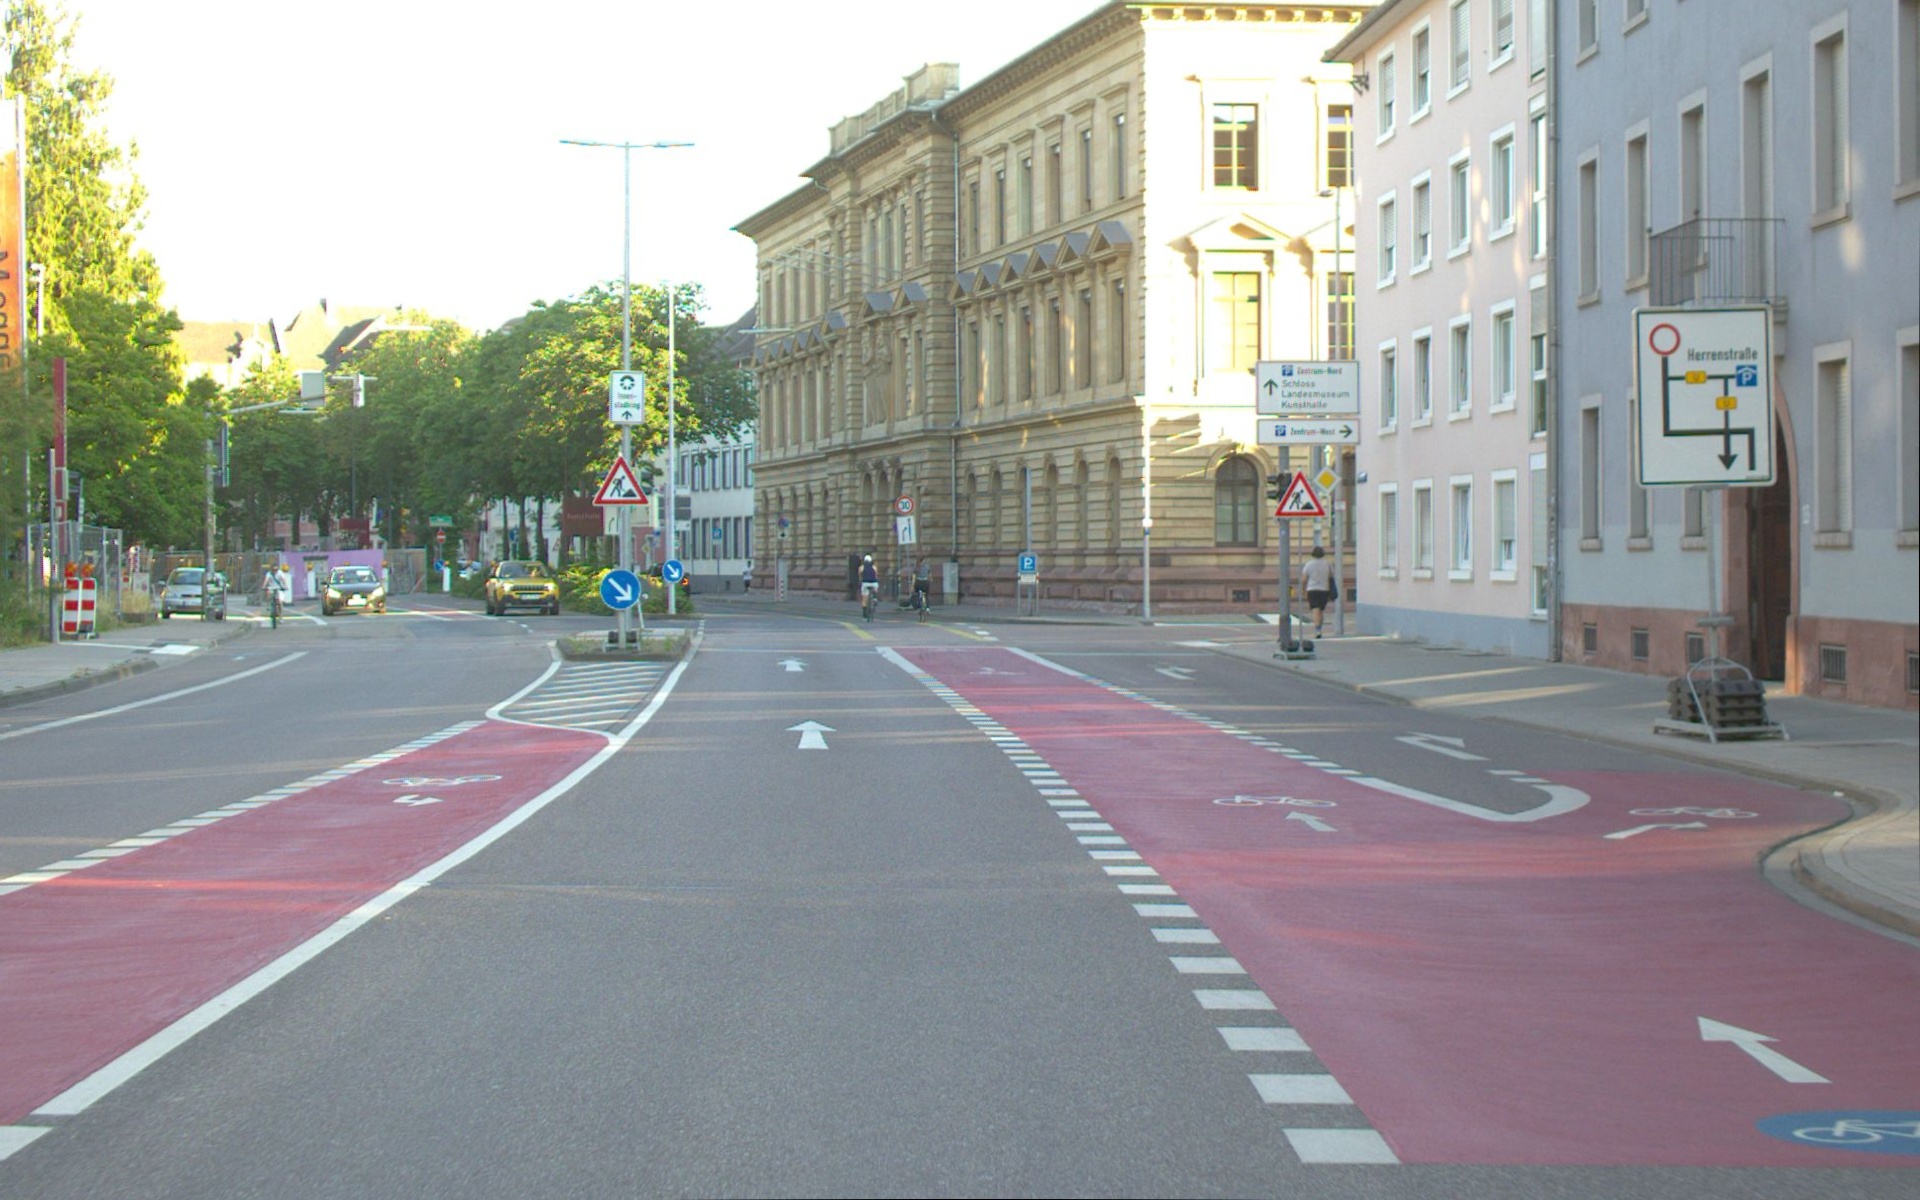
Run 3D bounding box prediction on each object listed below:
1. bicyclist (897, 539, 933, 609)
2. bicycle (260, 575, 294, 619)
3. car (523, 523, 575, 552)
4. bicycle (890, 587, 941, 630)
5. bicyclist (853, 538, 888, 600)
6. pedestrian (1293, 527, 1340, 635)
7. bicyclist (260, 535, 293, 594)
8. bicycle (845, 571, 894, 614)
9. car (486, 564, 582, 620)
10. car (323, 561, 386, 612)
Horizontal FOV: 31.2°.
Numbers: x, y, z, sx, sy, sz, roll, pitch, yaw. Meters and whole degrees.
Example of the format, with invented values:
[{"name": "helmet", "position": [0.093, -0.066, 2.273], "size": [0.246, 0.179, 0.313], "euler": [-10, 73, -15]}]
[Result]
[{"name": "bicyclist", "position": [-1.164, -0.667, 88.027], "size": [0.649, 1.754, 0.864], "euler": [2, 0, -17]}, {"name": "bicycle", "position": [-17.376, -0.089, 87.502], "size": [0.753, 1.086, 1.933], "euler": [-2, 1, -10]}, {"name": "car", "position": [-22.888, -3.492, 191.317], "size": [1.812, 1.555, 3.866], "euler": [0, 0, -24]}, {"name": "bicycle", "position": [-1.142, 0.208, 87.836], "size": [0.652, 1.067, 2.259], "euler": [2, 0, -17]}, {"name": "bicyclist", "position": [-2.283, -0.792, 87.808], "size": [0.668, 1.560, 0.699], "euler": [2, -1, -19]}, {"name": "pedestrian", "position": [6.715, -0.359, 64.651], "size": [0.785, 2.007, 0.994], "euler": [0, 1, 12]}, {"name": "bicyclist", "position": [-17.396, -0.905, 87.507], "size": [0.747, 1.455, 0.937], "euler": [-2, 1, -9]}, {"name": "bicycle", "position": [-2.326, -0.195, 87.881], "size": [0.669, 1.067, 1.902], "euler": [1, 0, -19]}, {"name": "car", "position": [-12.065, -0.240, 97.644], "size": [1.845, 1.542, 4.118], "euler": [-1, 1, 5]}, {"name": "car", "position": [-18.494, -0.426, 105.162], "size": [1.823, 1.503, 4.428], "euler": [0, 1, -9]}]
